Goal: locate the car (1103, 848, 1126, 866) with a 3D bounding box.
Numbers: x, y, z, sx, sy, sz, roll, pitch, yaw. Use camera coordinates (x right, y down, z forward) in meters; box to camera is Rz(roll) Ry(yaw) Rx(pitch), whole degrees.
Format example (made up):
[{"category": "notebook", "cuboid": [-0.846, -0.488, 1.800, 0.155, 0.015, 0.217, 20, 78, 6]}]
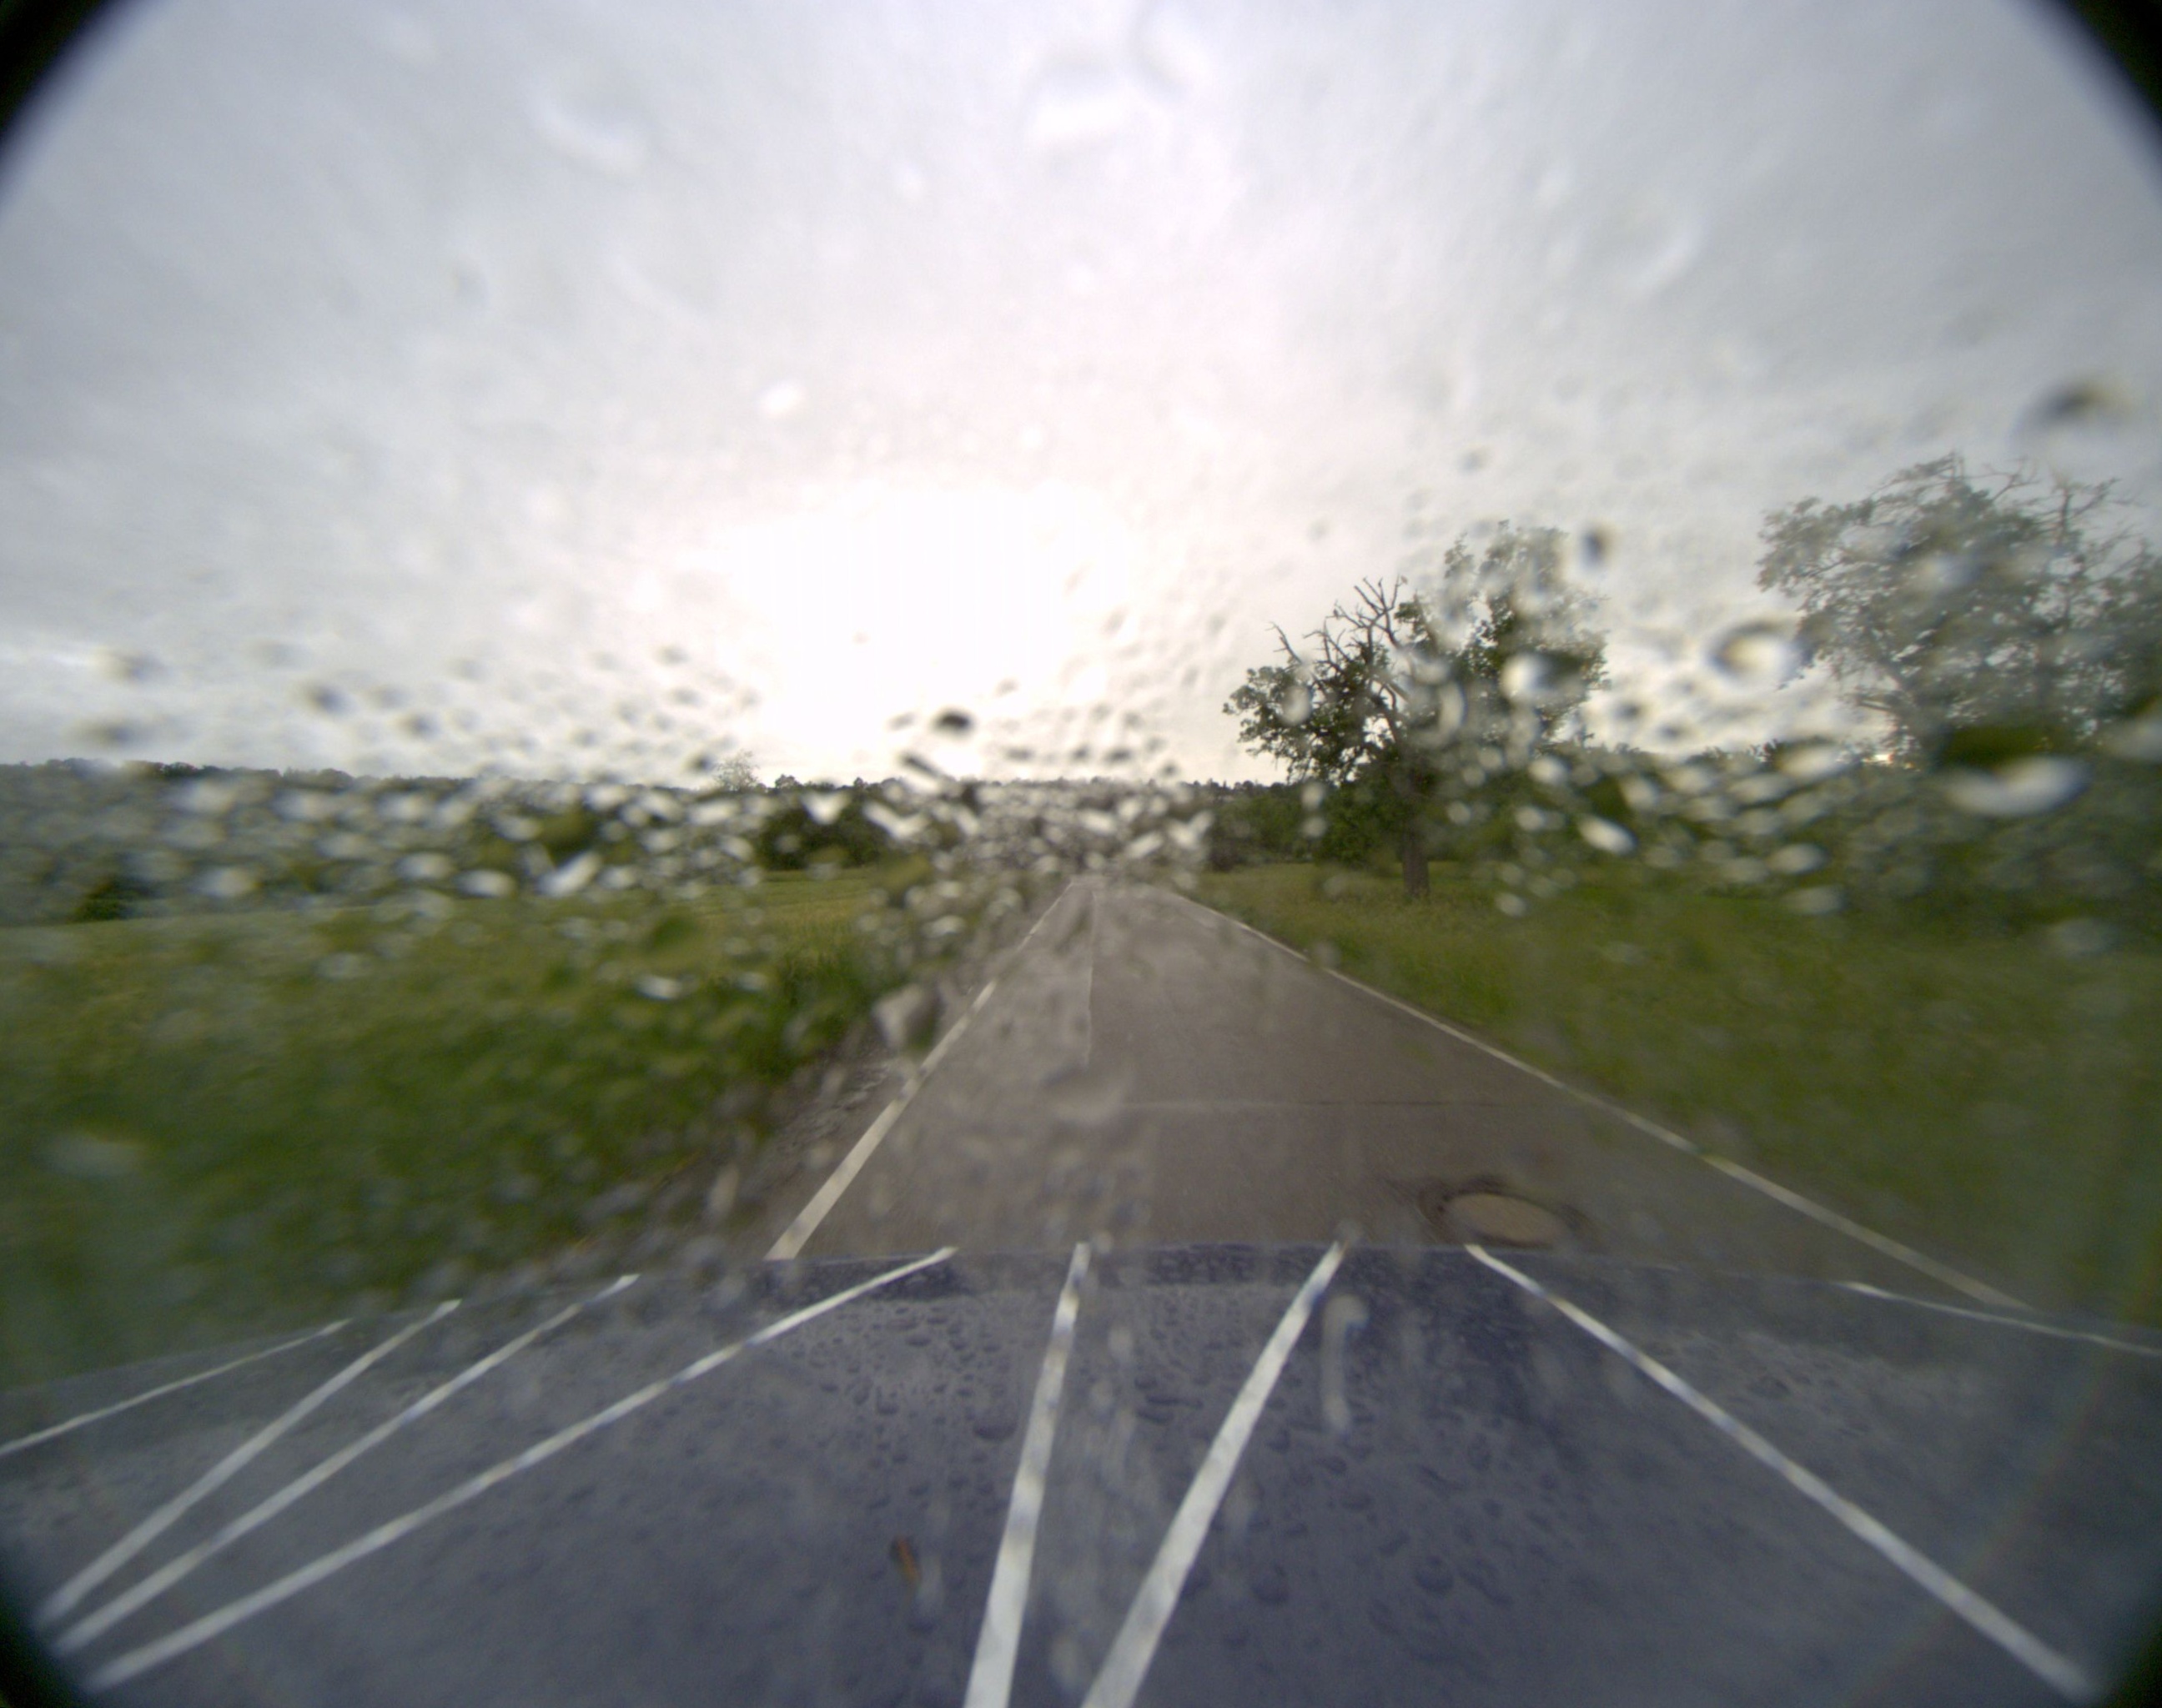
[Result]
[{"category": "car", "cuboid": [3.029, 0.265, 69.658, 1.744, 1.463, 4.121, -2, 1, -2]}]
